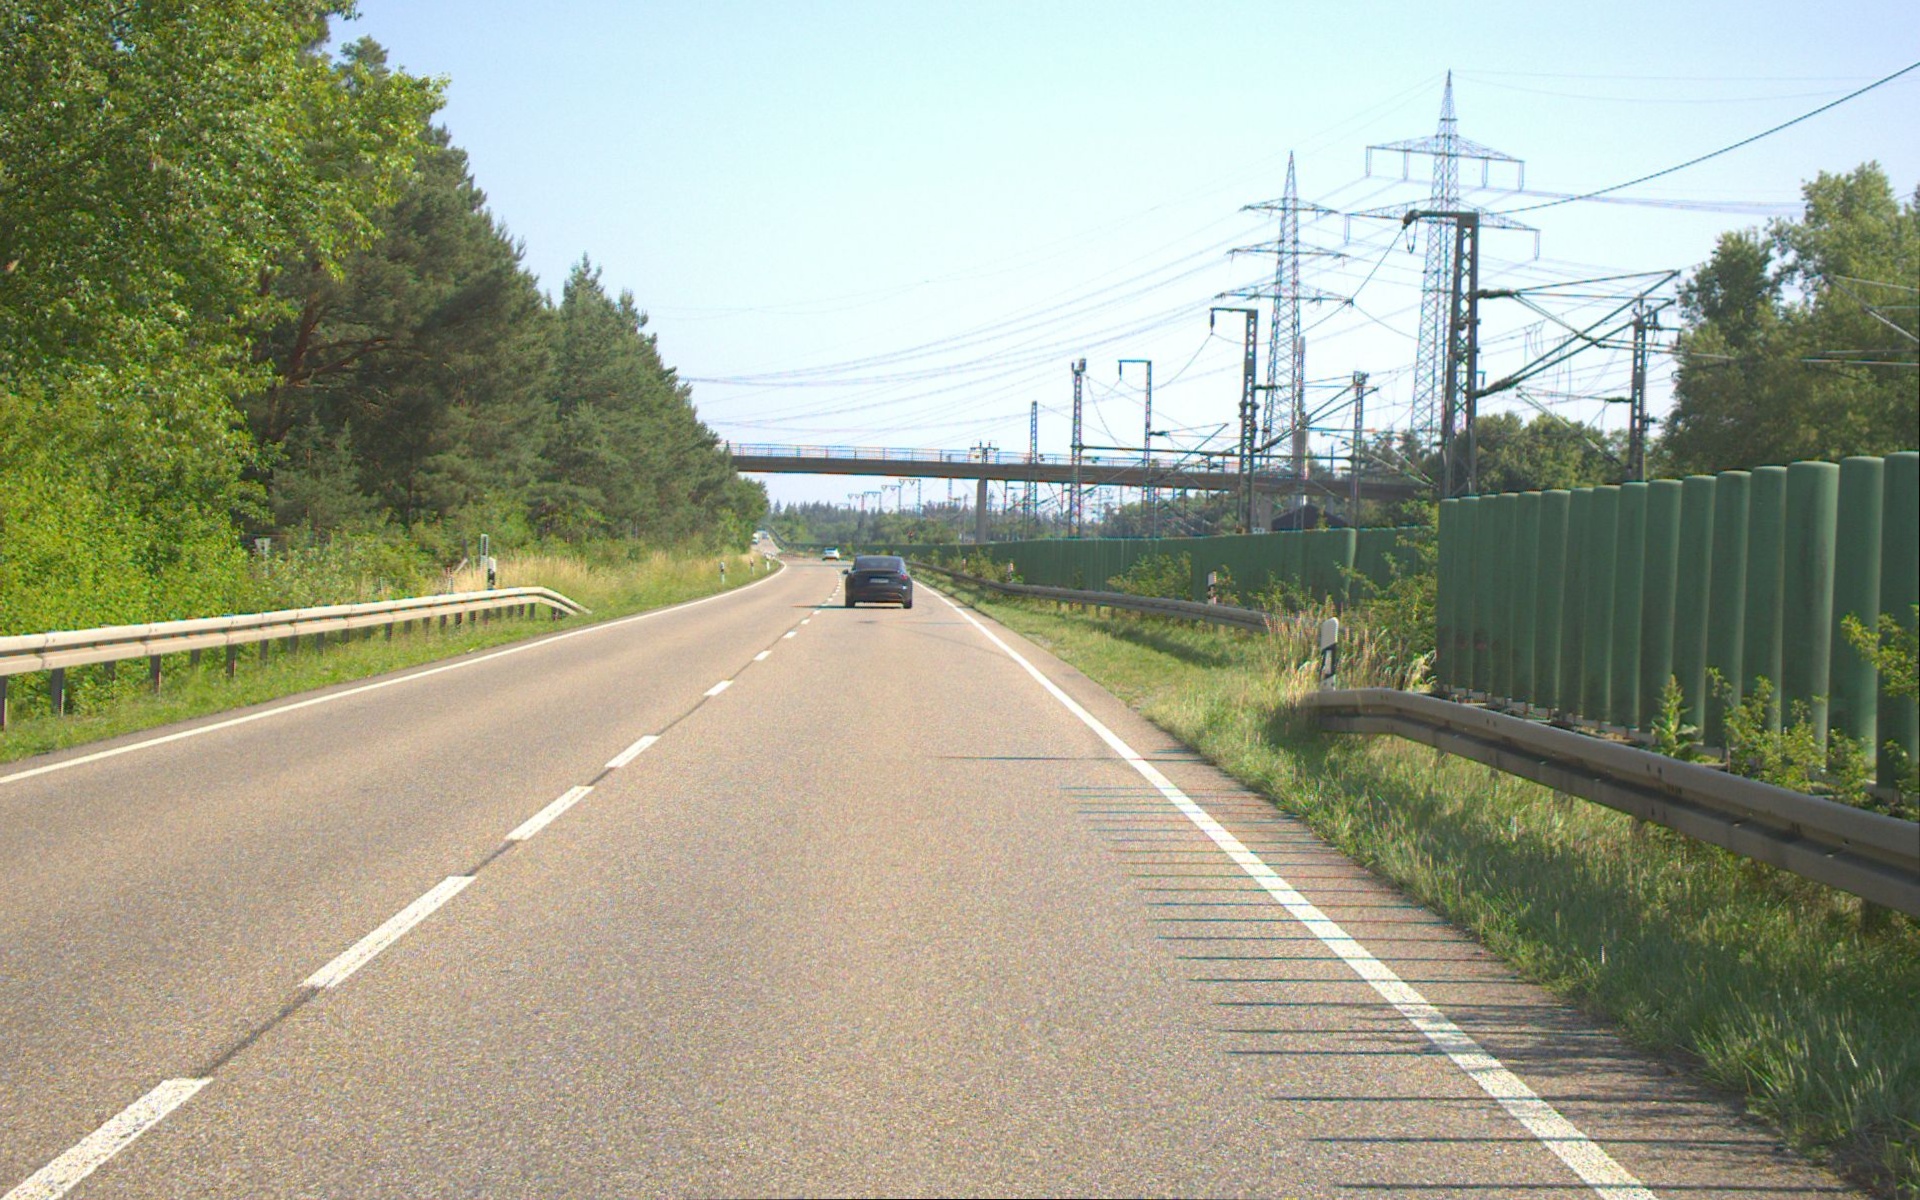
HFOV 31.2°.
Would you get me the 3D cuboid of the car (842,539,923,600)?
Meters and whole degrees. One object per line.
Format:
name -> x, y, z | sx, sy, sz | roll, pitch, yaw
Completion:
car -> -2.160, -0.849, 94.774 | 1.858, 1.636, 4.001 | 0, 1, -6
